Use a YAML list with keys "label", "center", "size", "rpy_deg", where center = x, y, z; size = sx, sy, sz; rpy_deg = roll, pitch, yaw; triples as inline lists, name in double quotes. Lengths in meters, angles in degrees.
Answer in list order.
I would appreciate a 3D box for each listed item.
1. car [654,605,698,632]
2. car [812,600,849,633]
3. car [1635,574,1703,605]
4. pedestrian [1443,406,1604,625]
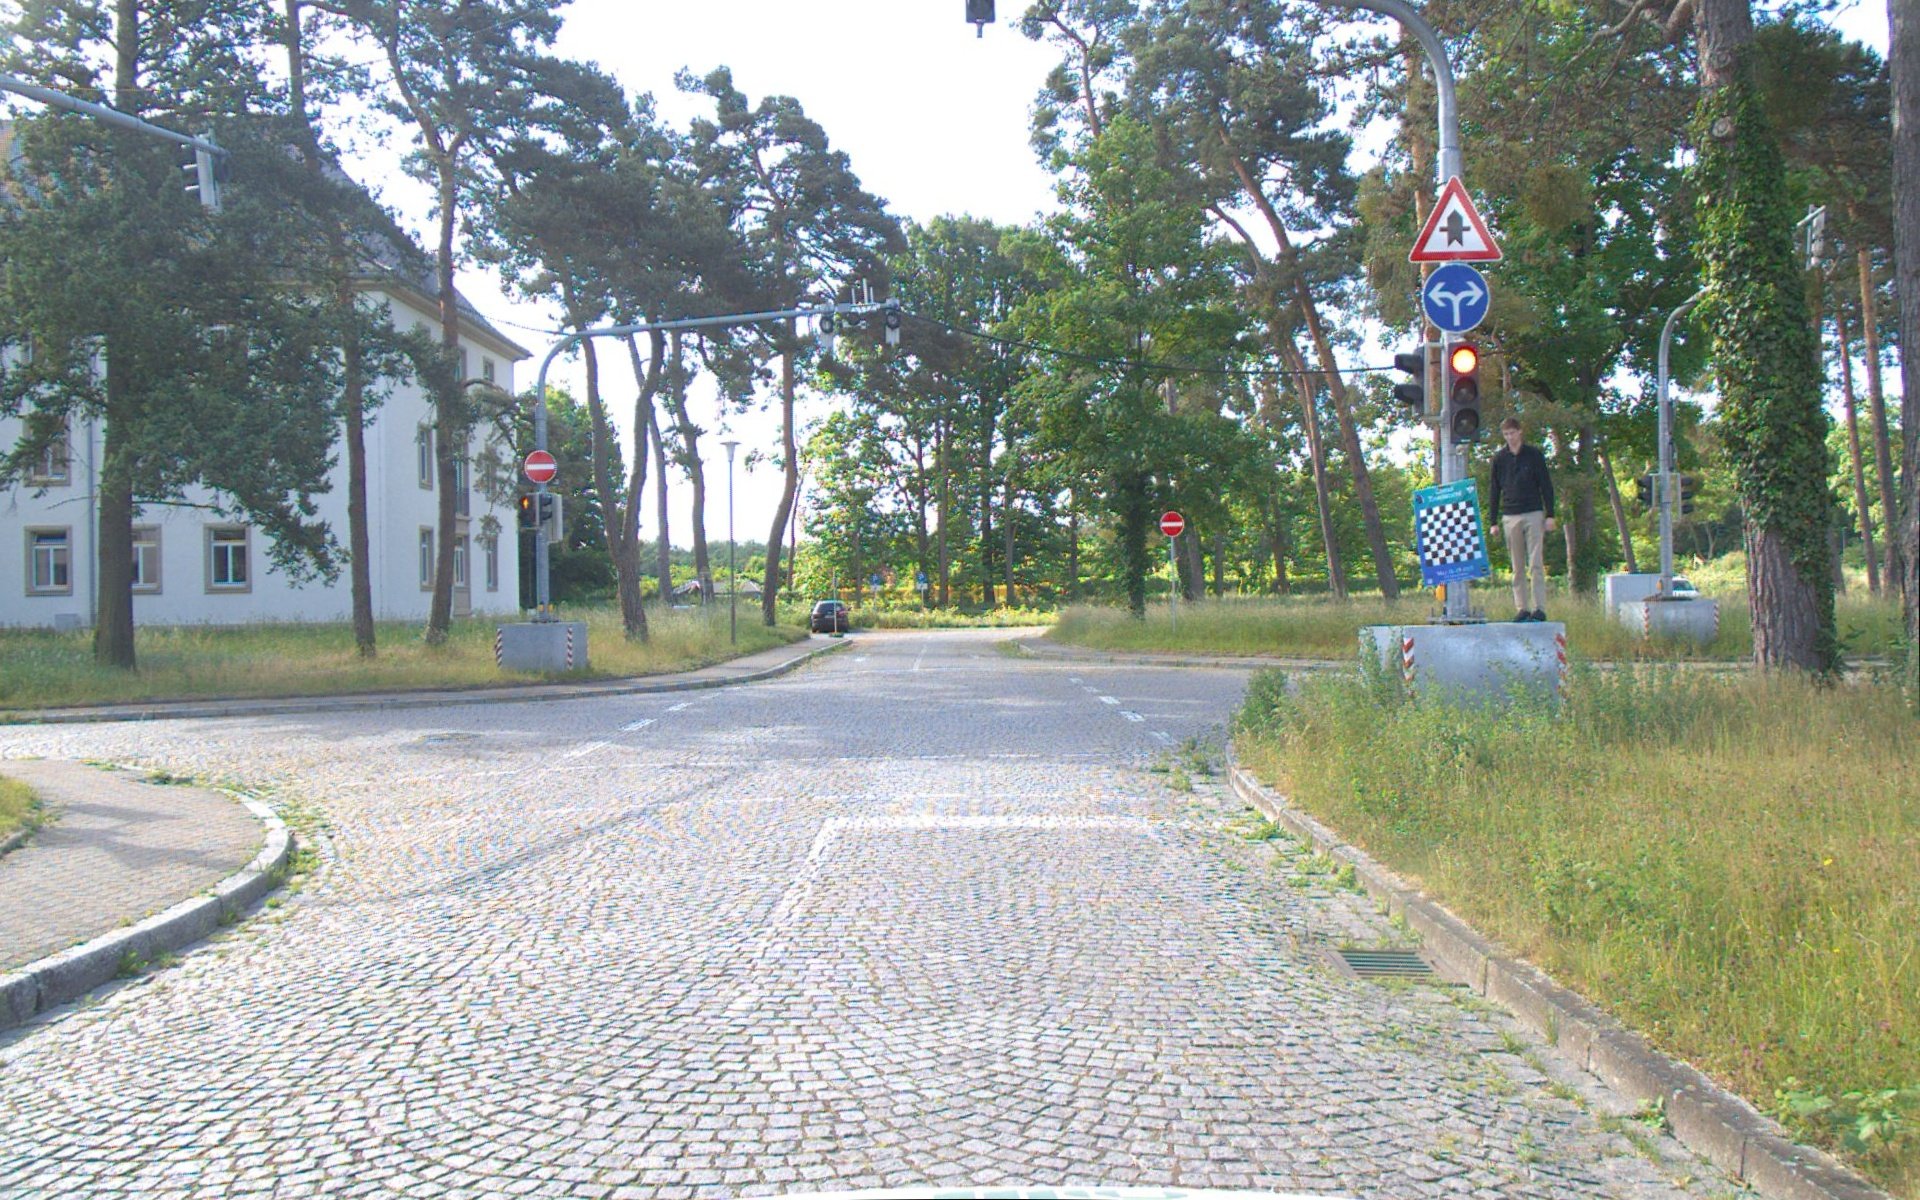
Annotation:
- label: "car"
  center: [-14.218, 0.915, 82.877]
  size: [1.675, 1.296, 3.917]
  rpy_deg: [-1, 0, -3]
- label: "car"
  center: [-6.435, 0.802, 82.252]
  size: [1.675, 1.522, 3.917]
  rpy_deg: [-1, 0, -3]
- label: "car"
  center: [38.019, -0.569, 88.788]
  size: [1.790, 1.609, 4.162]
  rpy_deg: [-1, 0, -1]
- label: "pedestrian"
  center: [5.026, -0.723, 14.729]
  size: [1.146, 1.827, 1.061]
  rpy_deg: [-2, 0, 28]
